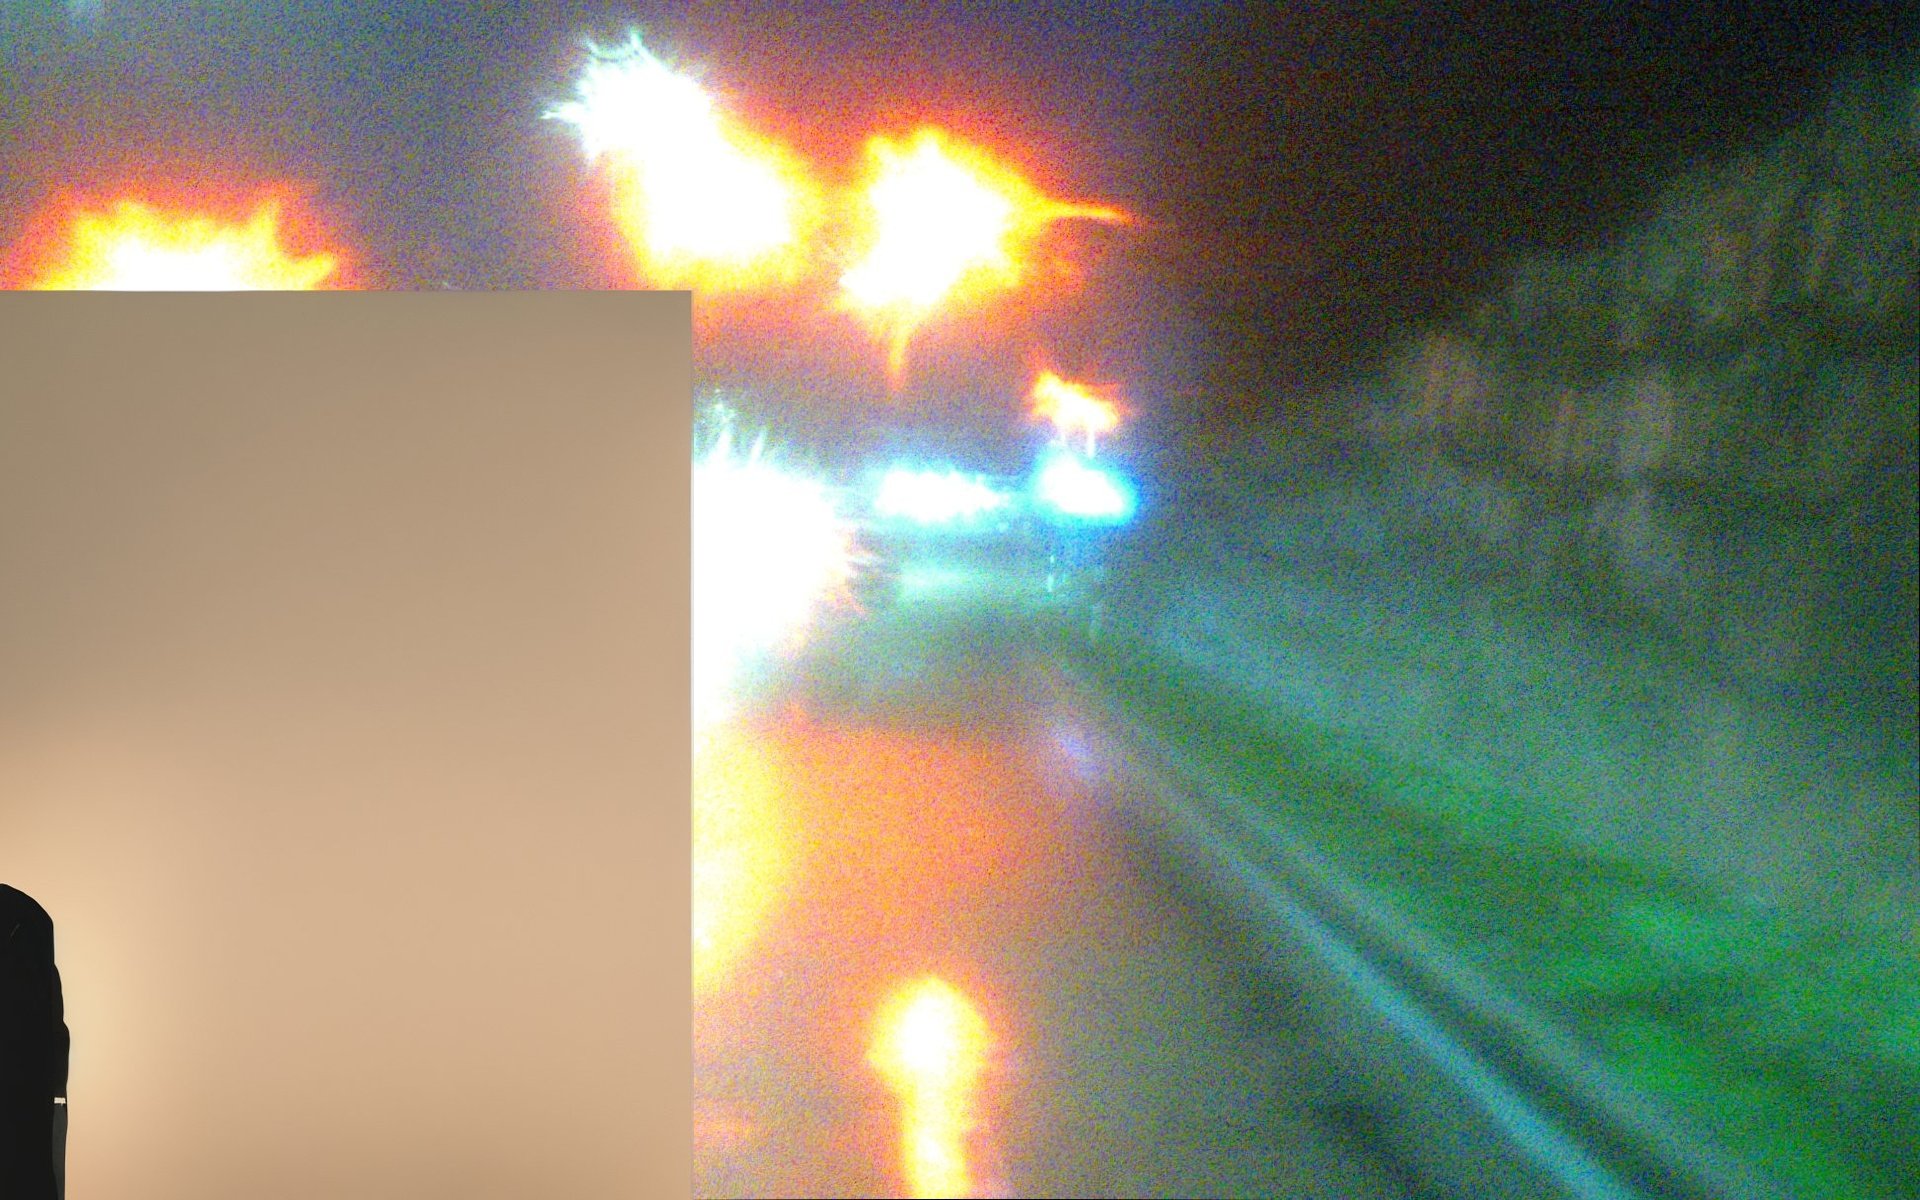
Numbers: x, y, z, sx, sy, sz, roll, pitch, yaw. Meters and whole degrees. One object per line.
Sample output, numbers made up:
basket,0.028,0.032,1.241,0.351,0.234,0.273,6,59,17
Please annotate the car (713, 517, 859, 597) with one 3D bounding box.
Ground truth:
car,-3.186,-0.806,63.683,1.962,1.424,3.931,1,1,8

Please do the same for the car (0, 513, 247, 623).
car,-13.307,-0.511,53.799,3.986,1.656,2.000,0,1,-5

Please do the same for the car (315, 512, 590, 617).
car,-8.332,-0.591,56.500,3.987,1.656,2.000,0,1,-33
